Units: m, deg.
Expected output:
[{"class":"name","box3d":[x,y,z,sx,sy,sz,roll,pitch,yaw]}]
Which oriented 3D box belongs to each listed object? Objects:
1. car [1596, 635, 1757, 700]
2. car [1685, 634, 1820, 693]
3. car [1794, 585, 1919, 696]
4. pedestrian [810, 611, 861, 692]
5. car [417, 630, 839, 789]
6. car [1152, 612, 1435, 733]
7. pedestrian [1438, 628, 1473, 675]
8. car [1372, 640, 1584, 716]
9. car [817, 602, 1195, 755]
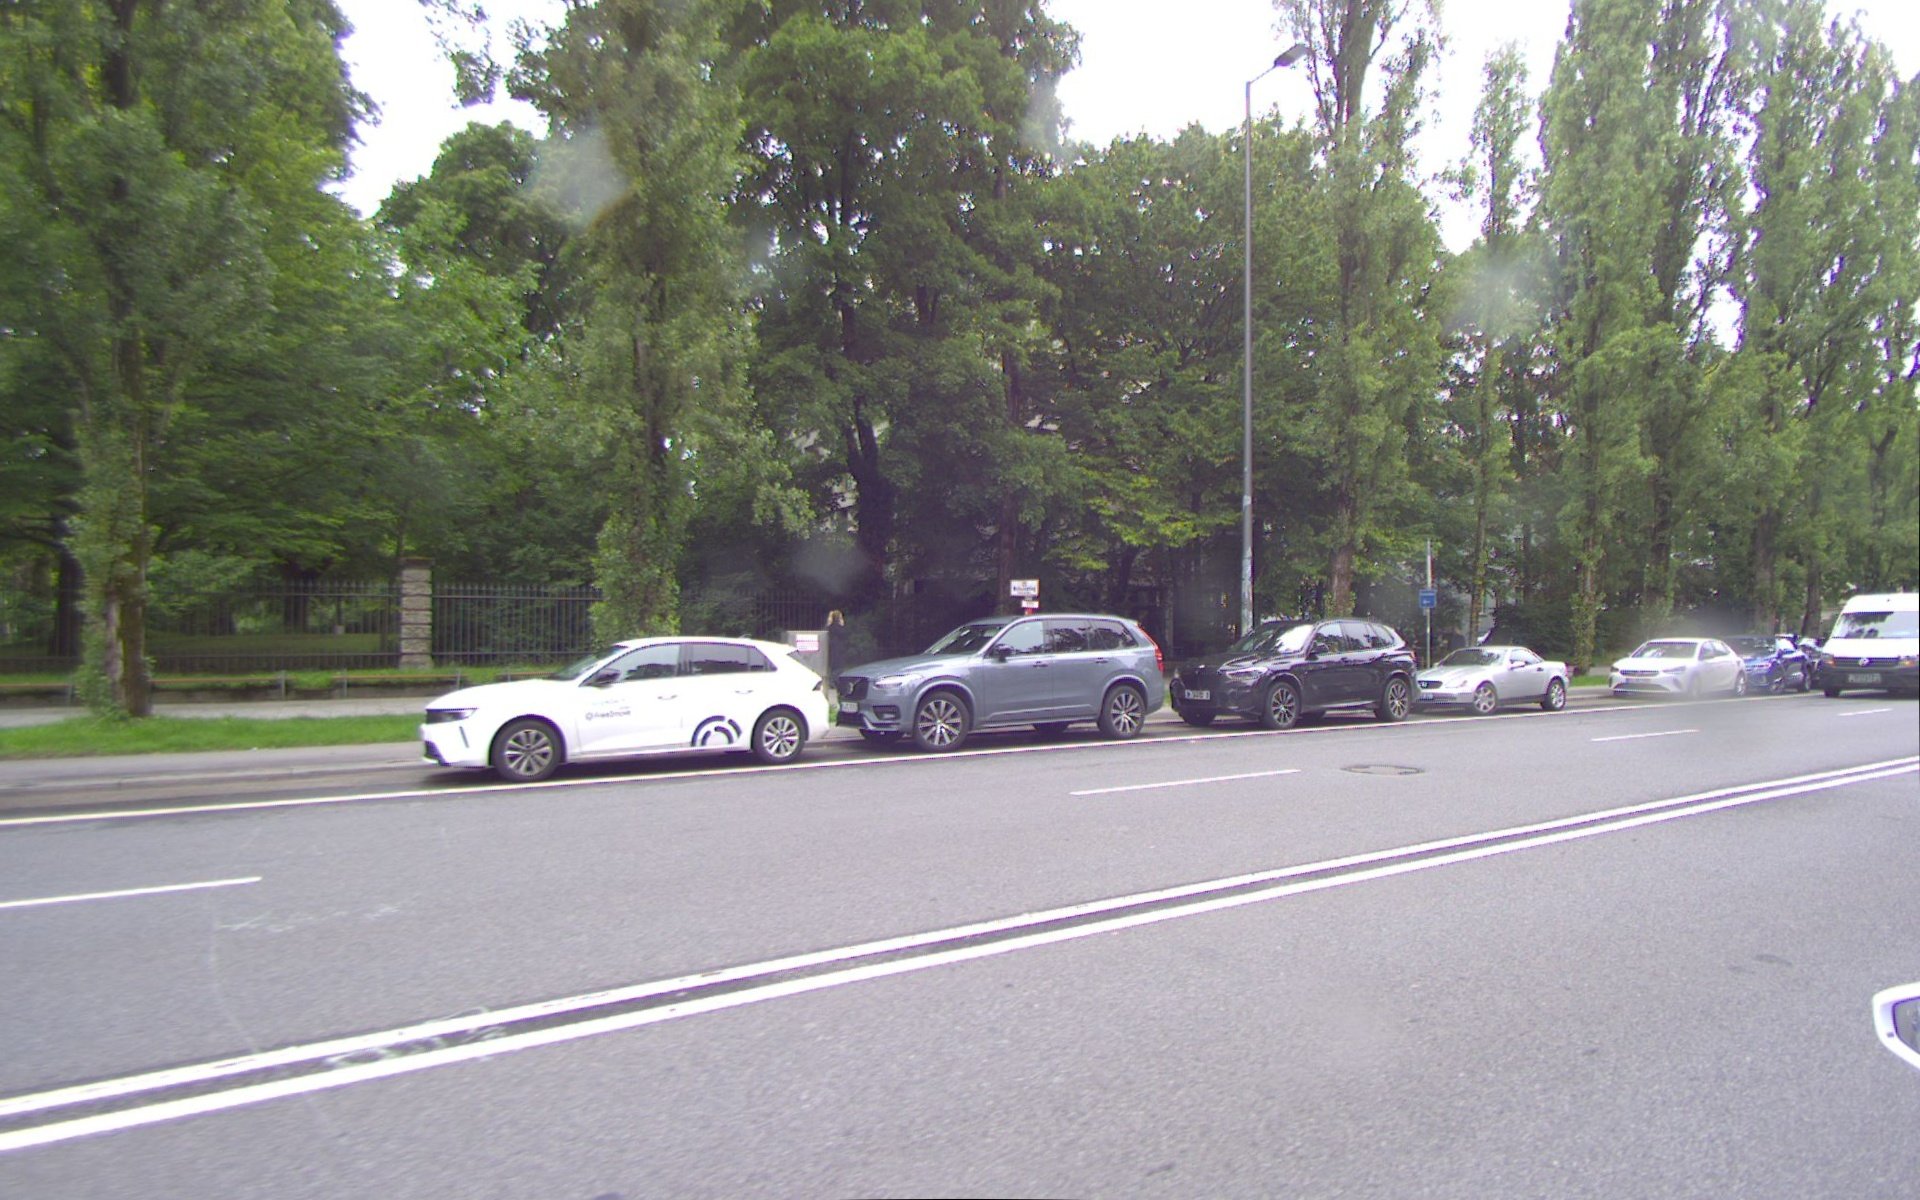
[{"class":"car","box3d":[17.645,1.634,24.709,4.187,1.471,1.761,1,-4,-33]},{"class":"car","box3d":[21.120,1.685,26.747,3.547,1.470,1.700,1,-4,-33]},{"class":"car","box3d":[23.977,1.037,25.623,6.686,2.515,2.215,1,-3,-33]},{"class":"pedestrian","box3d":[-2.796,1.142,22.590,0.946,1.764,0.663,1,-1,-30]},{"class":"car","box3d":[-3.624,1.110,11.227,4.225,1.478,1.696,1,-4,-32]},{"class":"car","box3d":[5.718,1.173,17.025,4.842,1.790,1.930,1,-4,-33]},{"class":"pedestrian","box3d":[17.667,1.829,35.835,0.871,1.620,0.733,1,0,-30]},{"class":"car","box3d":[10.331,1.499,19.973,4.186,1.351,1.817,1,-4,-32]},{"class":"car","box3d":[0.735,1.038,14.048,5.121,1.813,1.900,1,-4,-32]}]
